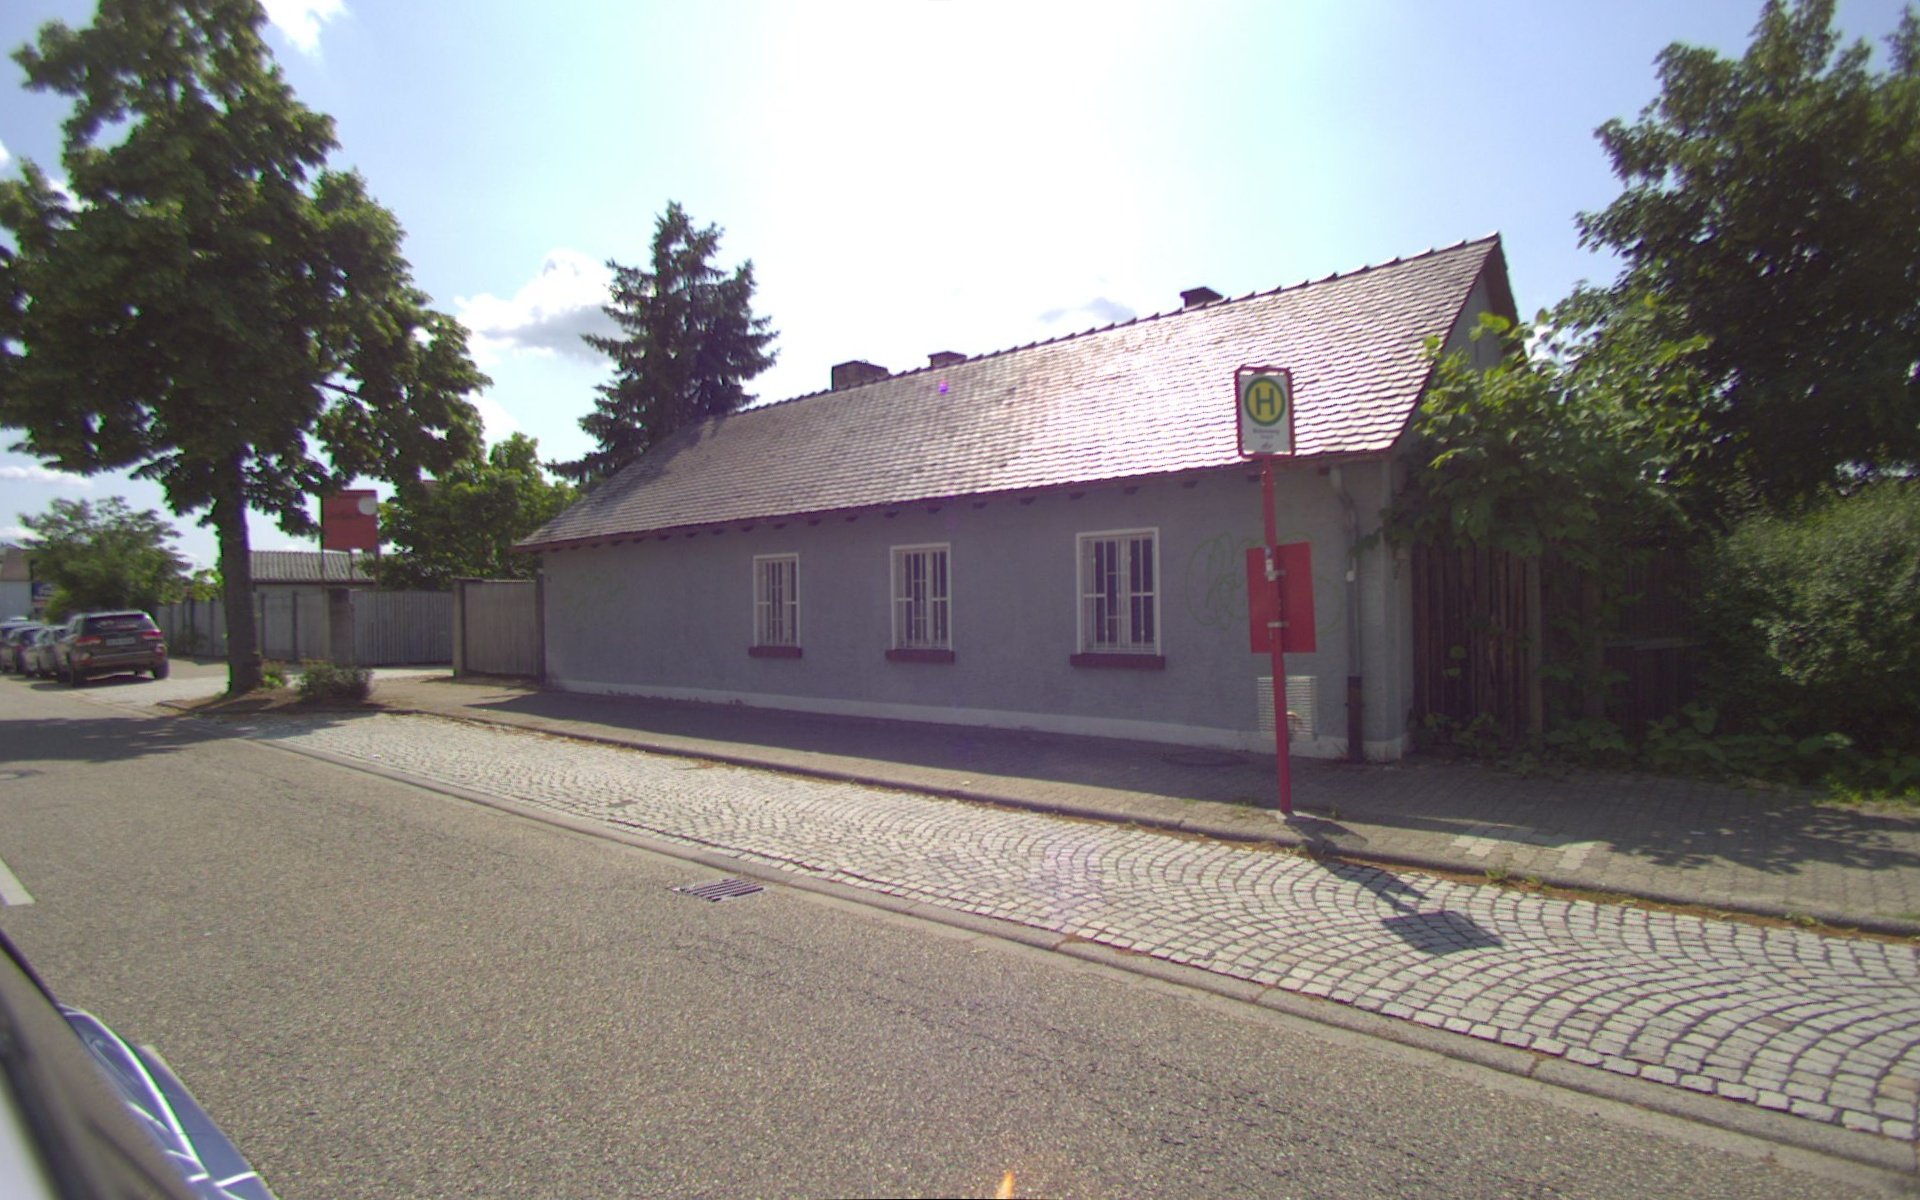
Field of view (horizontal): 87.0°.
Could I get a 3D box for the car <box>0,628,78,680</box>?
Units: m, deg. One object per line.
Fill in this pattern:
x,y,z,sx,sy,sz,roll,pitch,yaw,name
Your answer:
-30.516,1.719,33.245,4.023,1.459,1.612,-2,3,40,car

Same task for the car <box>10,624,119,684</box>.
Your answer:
-26.264,1.554,29.629,4.739,1.529,1.716,-2,1,41,car

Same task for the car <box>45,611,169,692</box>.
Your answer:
-22.038,1.240,26.063,4.786,1.836,1.898,-1,1,44,car

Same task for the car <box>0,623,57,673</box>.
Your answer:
-34.359,1.705,36.694,4.409,1.616,1.708,-2,2,39,car
